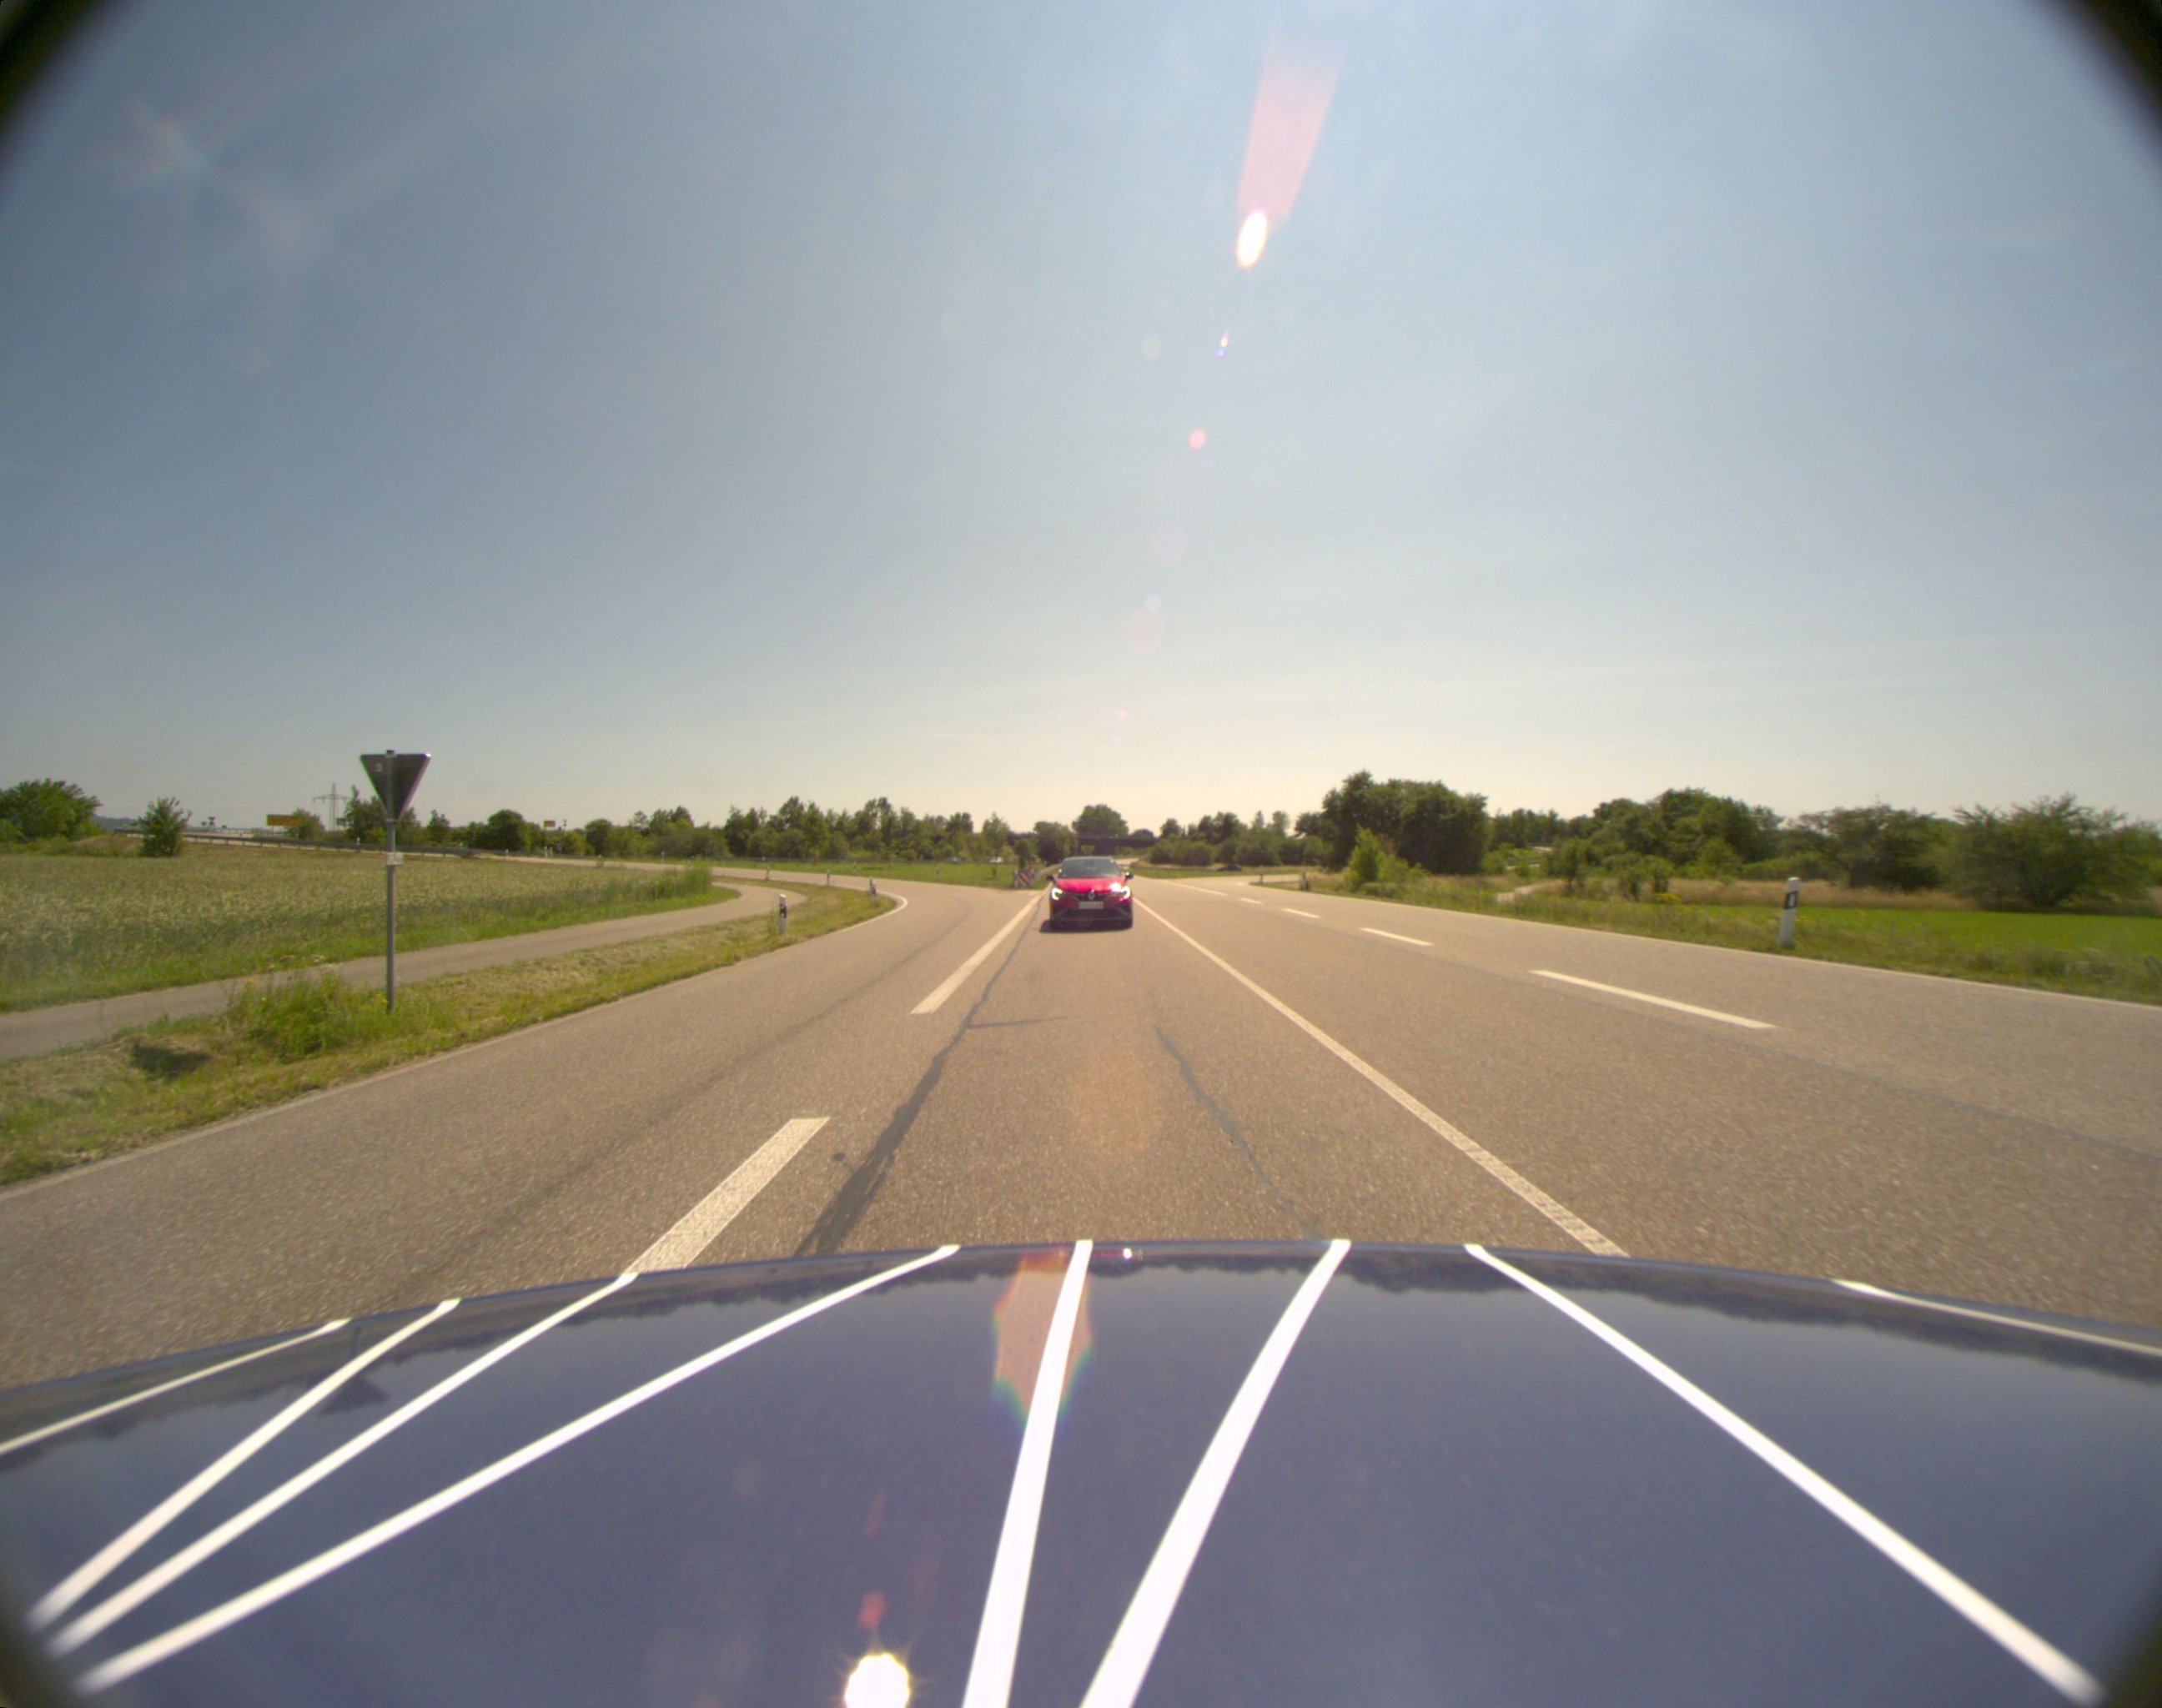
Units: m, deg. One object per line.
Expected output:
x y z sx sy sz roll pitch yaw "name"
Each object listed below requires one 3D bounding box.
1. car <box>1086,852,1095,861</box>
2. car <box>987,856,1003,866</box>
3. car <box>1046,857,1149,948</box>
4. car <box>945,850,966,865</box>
2.123 0.641 174.363 1.998 2.002 4.000 1 0 2 "car"
-15.302 1.206 135.197 1.997 1.674 4.001 -1 1 6 "car"
0.292 0.875 15.964 1.837 1.587 4.721 -1 0 0 "car"
-18.352 0.515 111.414 1.793 2.002 3.725 1 0 11 "car"
